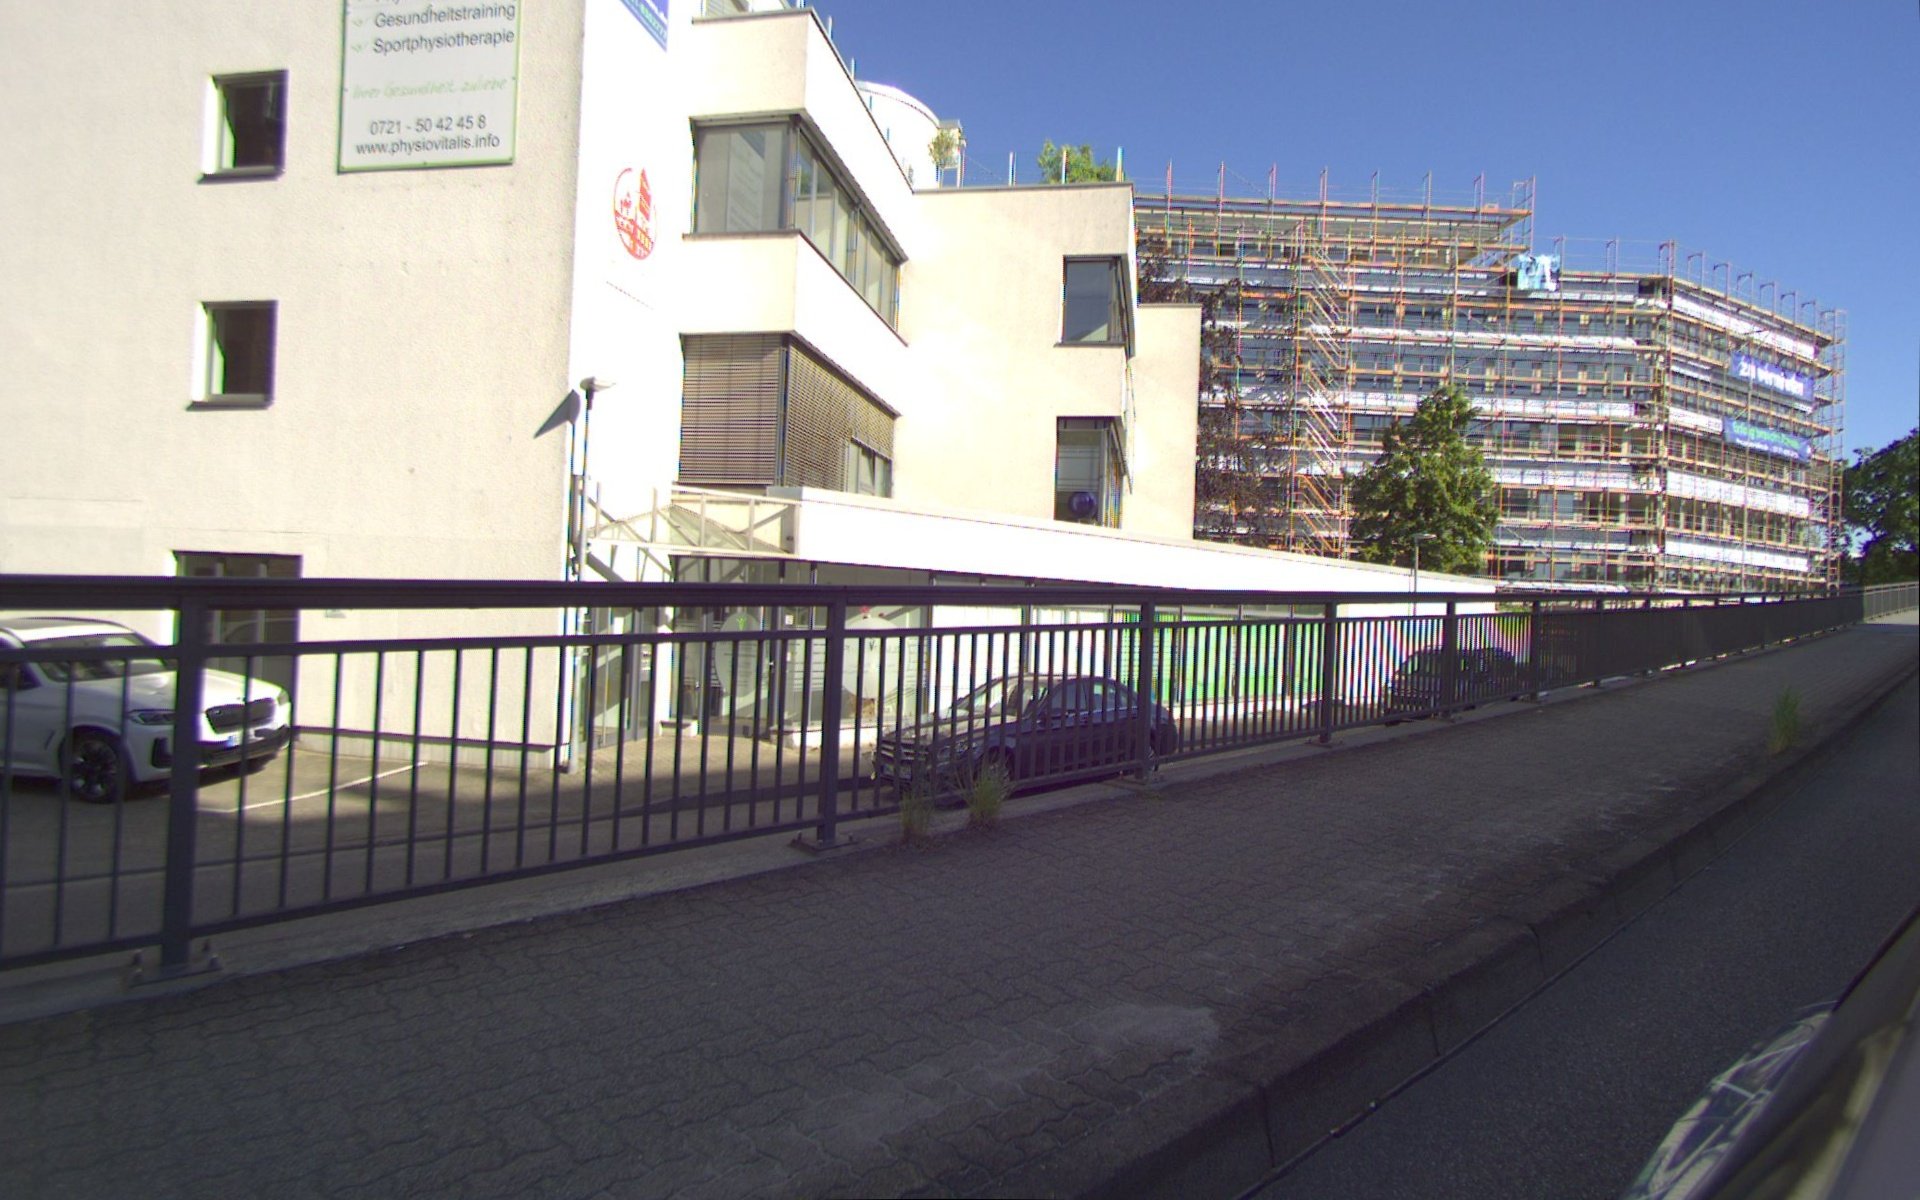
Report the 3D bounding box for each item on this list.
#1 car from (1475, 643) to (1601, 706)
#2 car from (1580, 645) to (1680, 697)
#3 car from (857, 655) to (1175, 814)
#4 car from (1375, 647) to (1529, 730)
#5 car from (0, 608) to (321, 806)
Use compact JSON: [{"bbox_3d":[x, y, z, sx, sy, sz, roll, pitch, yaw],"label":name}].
[{"bbox_3d":[14.975,1.865,26.155,3.931,1.410,1.723,1,-1,-42],"label":"car"},{"bbox_3d":[21.082,2.170,31.796,3.931,1.410,1.723,1,-1,-42],"label":"car"},{"bbox_3d":[0.805,1.545,12.804,3.929,1.541,1.724,1,-1,-41],"label":"car"},{"bbox_3d":[10.854,1.859,22.225,3.931,1.541,1.723,1,-1,-42],"label":"car"},{"bbox_3d":[-9.561,1.020,10.839,4.455,1.707,1.840,2,0,9],"label":"car"}]
